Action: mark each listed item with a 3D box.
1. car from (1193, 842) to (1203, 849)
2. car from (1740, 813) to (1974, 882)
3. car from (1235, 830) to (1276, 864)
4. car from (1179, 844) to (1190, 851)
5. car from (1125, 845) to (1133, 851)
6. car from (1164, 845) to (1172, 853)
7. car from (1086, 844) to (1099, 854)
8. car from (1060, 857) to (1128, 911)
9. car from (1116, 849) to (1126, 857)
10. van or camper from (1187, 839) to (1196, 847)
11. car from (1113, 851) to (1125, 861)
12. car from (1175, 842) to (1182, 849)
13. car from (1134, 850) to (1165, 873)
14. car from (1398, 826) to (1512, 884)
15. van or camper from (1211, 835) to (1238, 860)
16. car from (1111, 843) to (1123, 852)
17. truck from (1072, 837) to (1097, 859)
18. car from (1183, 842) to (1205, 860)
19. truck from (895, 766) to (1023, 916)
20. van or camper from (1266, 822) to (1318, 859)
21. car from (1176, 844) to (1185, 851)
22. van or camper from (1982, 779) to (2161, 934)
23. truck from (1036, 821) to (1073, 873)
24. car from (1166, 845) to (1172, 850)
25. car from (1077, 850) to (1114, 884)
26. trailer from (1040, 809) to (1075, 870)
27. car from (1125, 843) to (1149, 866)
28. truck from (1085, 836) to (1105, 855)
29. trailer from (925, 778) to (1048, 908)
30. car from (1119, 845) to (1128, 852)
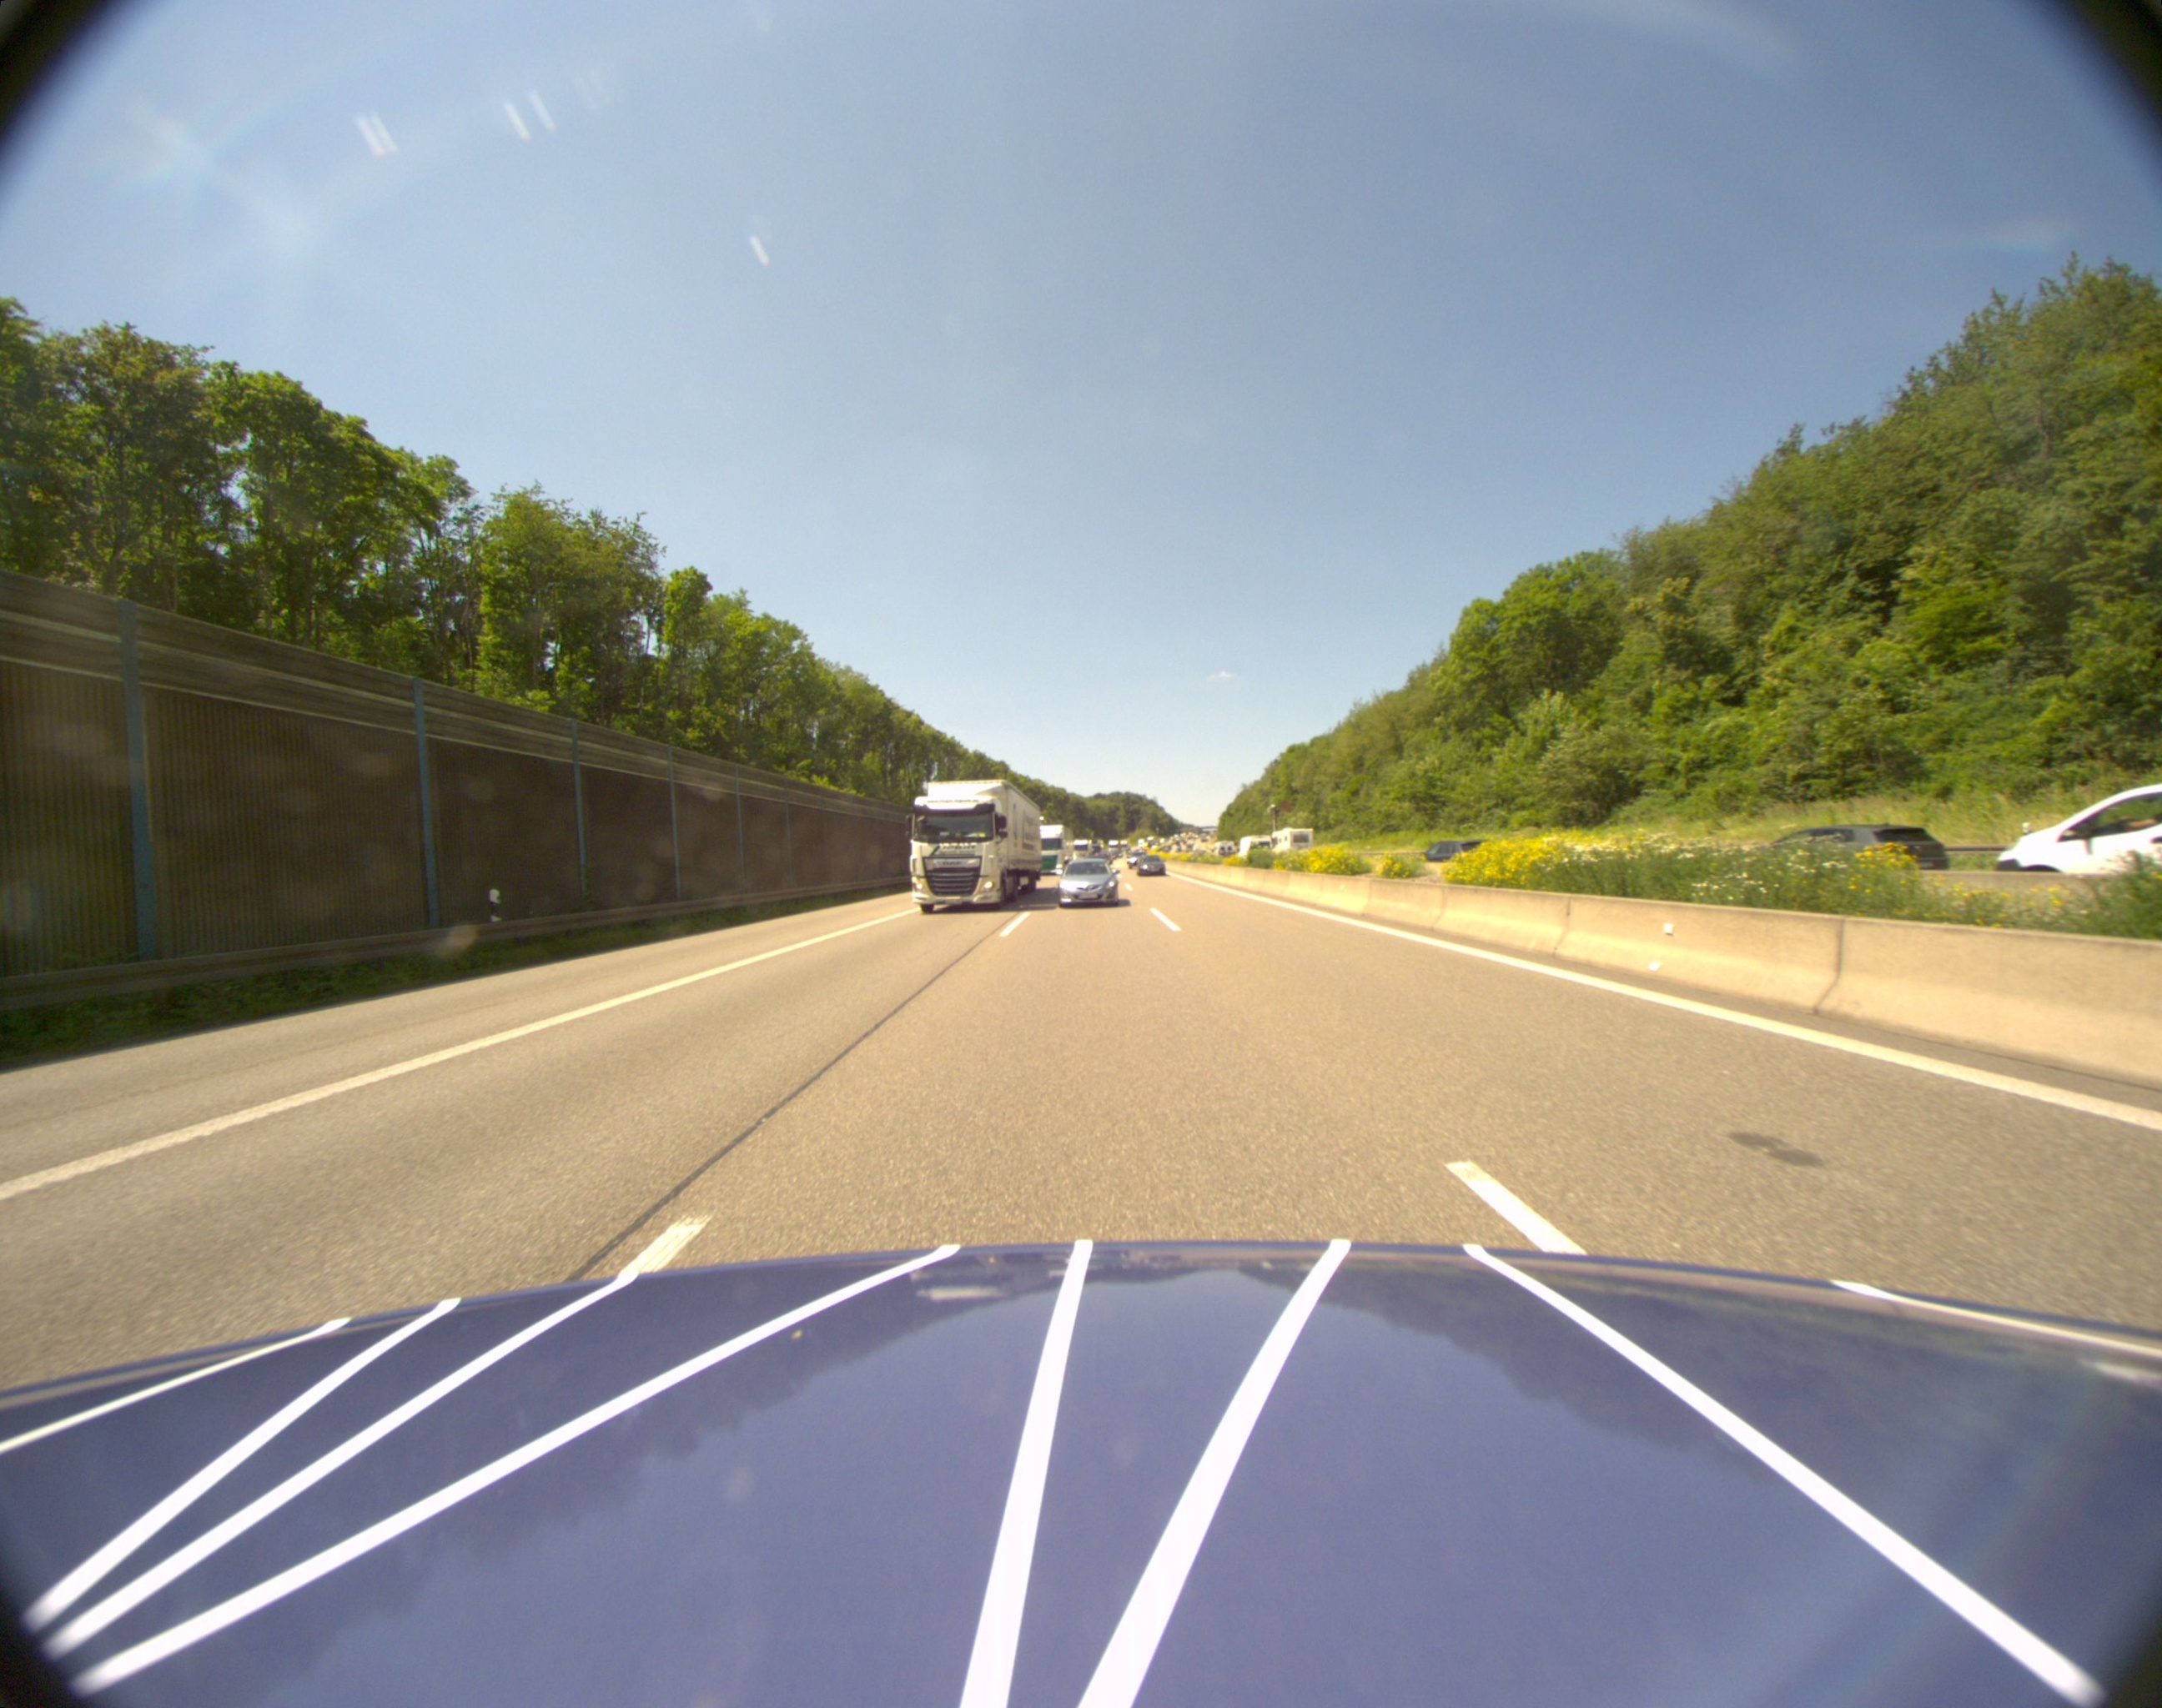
[{"bbox_3d":[27.740,-1.966,180.248,1.792,1.448,3.999,-2,2,2],"label":"car"},{"bbox_3d":[19.009,-0.199,18.922,1.780,1.483,3.999,-2,2,1],"label":"car"},{"bbox_3d":[15.271,-0.602,66.772,2.206,2.725,5.746,-2,0,0],"label":"car"},{"bbox_3d":[23.028,-1.412,168.711,1.998,1.577,4.273,-2,1,2],"label":"car"},{"bbox_3d":[14.011,-1.823,222.974,1.997,1.728,4.001,-2,2,6],"label":"car"},{"bbox_3d":[23.277,-1.412,203.906,1.998,2.002,4.000,-2,2,4],"label":"car"},{"bbox_3d":[1.994,-0.845,133.870,1.923,1.652,3.827,-2,2,5],"label":"car"},{"bbox_3d":[0.388,0.870,23.876,1.887,1.459,4.247,-2,0,0],"label":"car"},{"bbox_3d":[8.796,-0.247,166.834,1.997,1.728,4.001,-2,2,6],"label":"car"},{"bbox_3d":[35.115,-3.521,242.454,2.191,2.546,6.932,-2,2,3],"label":"van or camper"},{"bbox_3d":[7.303,0.368,144.637,1.997,1.728,4.001,-2,2,6],"label":"car"},{"bbox_3d":[30.154,-2.512,234.458,1.998,2.002,4.568,-2,2,4],"label":"car"},{"bbox_3d":[4.593,0.488,51.503,1.720,1.470,3.999,-2,1,0],"label":"car"},{"bbox_3d":[12.023,-0.017,24.728,1.711,1.655,4.080,-2,2,1],"label":"car"},{"bbox_3d":[17.820,-0.809,94.760,2.263,2.882,6.556,-2,0,1],"label":"van or camper"},{"bbox_3d":[10.638,-1.968,224.744,2.696,2.468,6.586,-2,2,8],"label":"car"},{"bbox_3d":[0.646,-1.066,122.897,3.262,3.337,6.864,-2,2,5],"label":"truck"},{"bbox_3d":[12.773,-0.296,85.834,1.998,1.914,4.000,-2,0,3],"label":"car"},{"bbox_3d":[-3.707,-0.363,24.543,2.792,4.180,5.870,-2,0,2],"label":"truck"},{"bbox_3d":[20.371,-1.314,73.824,2.546,3.299,9.000,-2,2,1],"label":"van or camper"},{"bbox_3d":[26.448,-1.698,201.964,1.998,1.581,4.162,-2,2,2],"label":"car"},{"bbox_3d":[14.764,0.007,9.639,1.696,2.001,4.212,-2,1,1],"label":"van or camper"},{"bbox_3d":[-2.090,-0.611,62.497,2.542,4.007,6.623,-2,2,1],"label":"truck"},{"bbox_3d":[26.231,-1.919,226.734,1.481,1.433,3.564,-2,0,2],"label":"car"},{"bbox_3d":[0.852,0.675,42.067,1.887,1.696,4.084,-2,0,2],"label":"car"},{"bbox_3d":[-2.042,-1.422,70.815,2.574,5.012,15.267,-2,2,0],"label":"trailer"},{"bbox_3d":[5.355,0.015,73.351,1.998,2.002,3.999,-2,2,0],"label":"car"},{"bbox_3d":[2.907,-1.807,156.174,3.557,3.695,7.551,-2,2,4],"label":"truck"},{"bbox_3d":[-3.401,-0.358,31.748,2.792,4.180,13.245,-2,0,2],"label":"trailer"},{"bbox_3d":[10.409,-1.373,187.555,1.997,1.728,4.001,-2,2,6],"label":"car"}]
